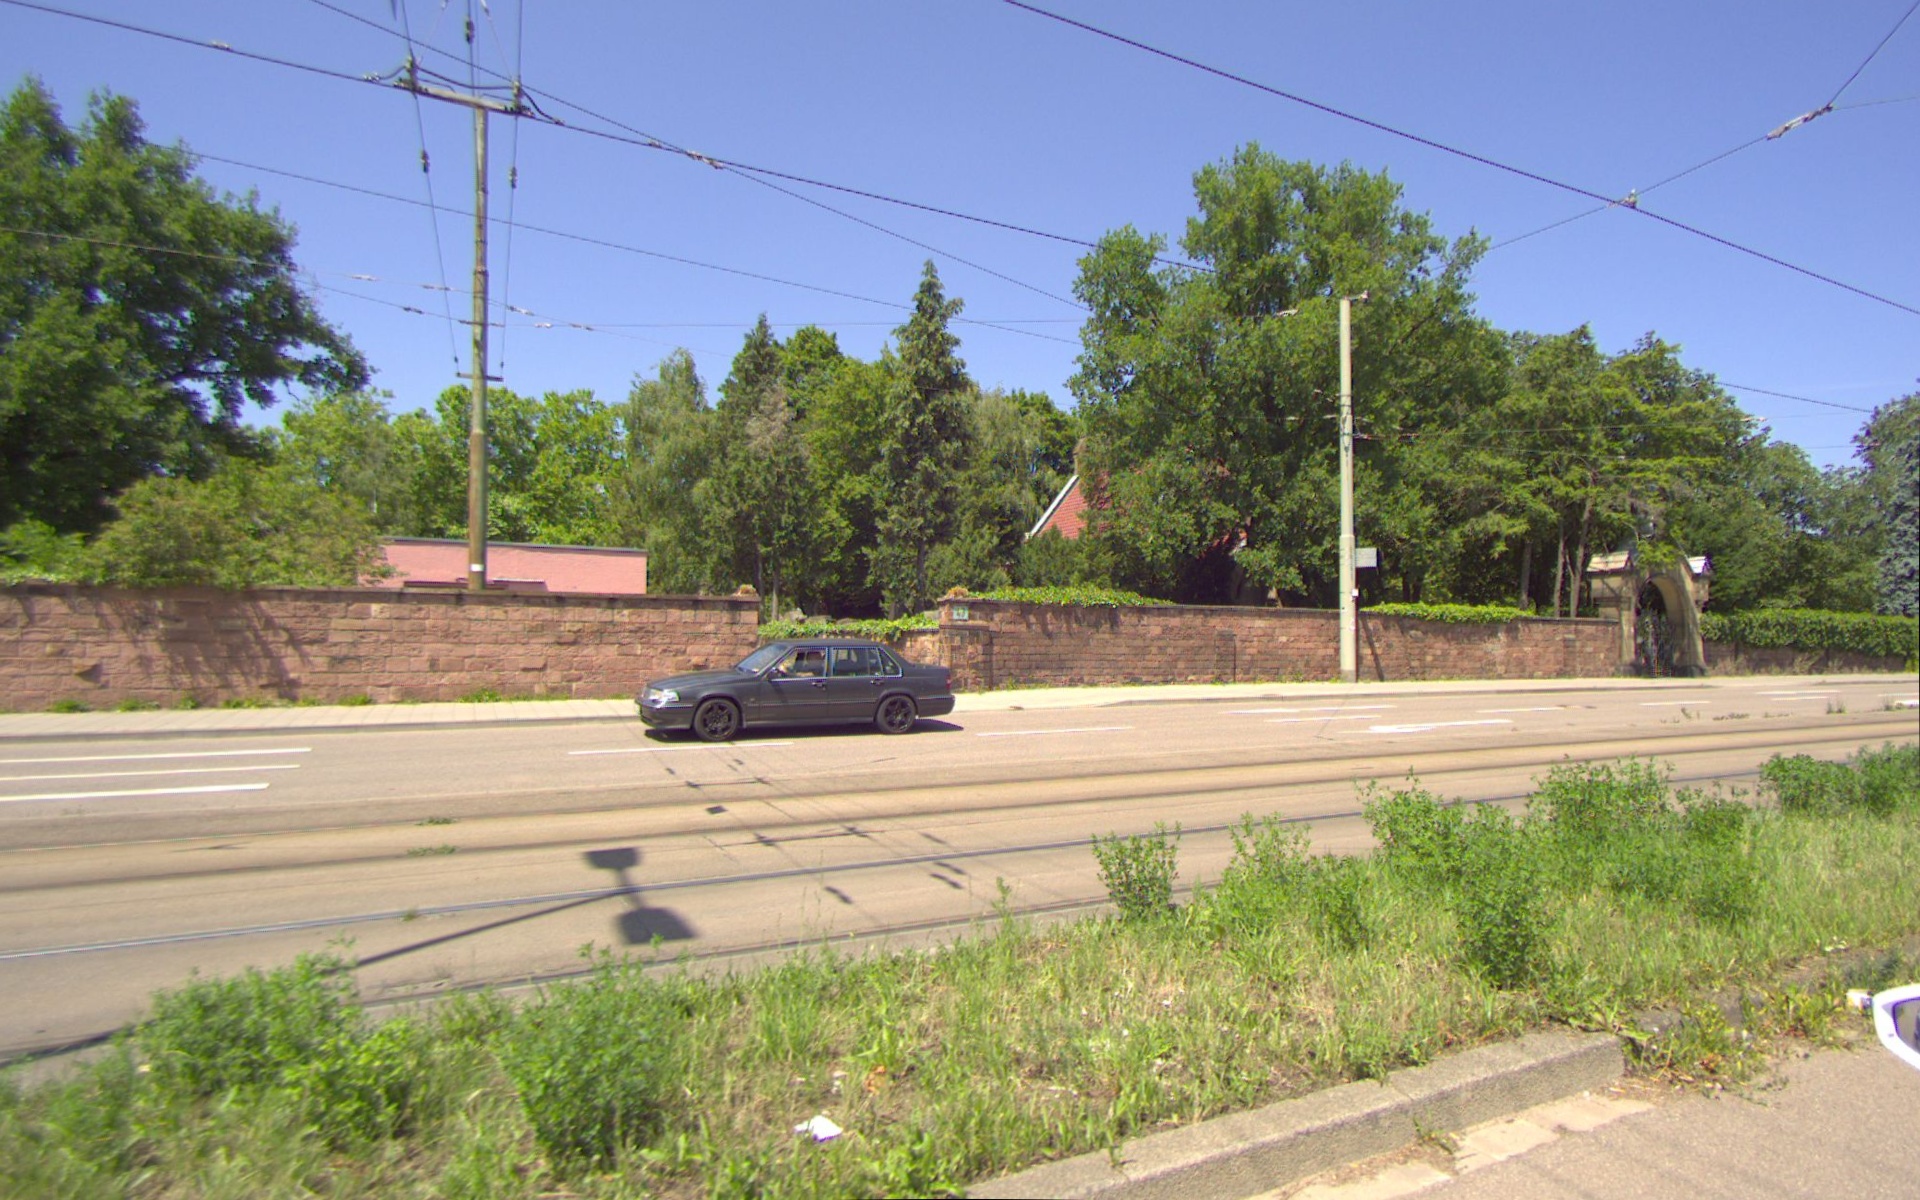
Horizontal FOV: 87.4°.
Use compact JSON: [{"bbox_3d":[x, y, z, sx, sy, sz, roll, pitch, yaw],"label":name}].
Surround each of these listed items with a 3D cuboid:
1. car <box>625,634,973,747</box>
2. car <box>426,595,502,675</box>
[{"bbox_3d":[-2.430,1.297,15.461,4.968,1.435,1.834,1,0,-27],"label":"car"},{"bbox_3d":[-16.681,1.175,33.672,1.864,2.498,4.354,1,-2,-31],"label":"car"}]
